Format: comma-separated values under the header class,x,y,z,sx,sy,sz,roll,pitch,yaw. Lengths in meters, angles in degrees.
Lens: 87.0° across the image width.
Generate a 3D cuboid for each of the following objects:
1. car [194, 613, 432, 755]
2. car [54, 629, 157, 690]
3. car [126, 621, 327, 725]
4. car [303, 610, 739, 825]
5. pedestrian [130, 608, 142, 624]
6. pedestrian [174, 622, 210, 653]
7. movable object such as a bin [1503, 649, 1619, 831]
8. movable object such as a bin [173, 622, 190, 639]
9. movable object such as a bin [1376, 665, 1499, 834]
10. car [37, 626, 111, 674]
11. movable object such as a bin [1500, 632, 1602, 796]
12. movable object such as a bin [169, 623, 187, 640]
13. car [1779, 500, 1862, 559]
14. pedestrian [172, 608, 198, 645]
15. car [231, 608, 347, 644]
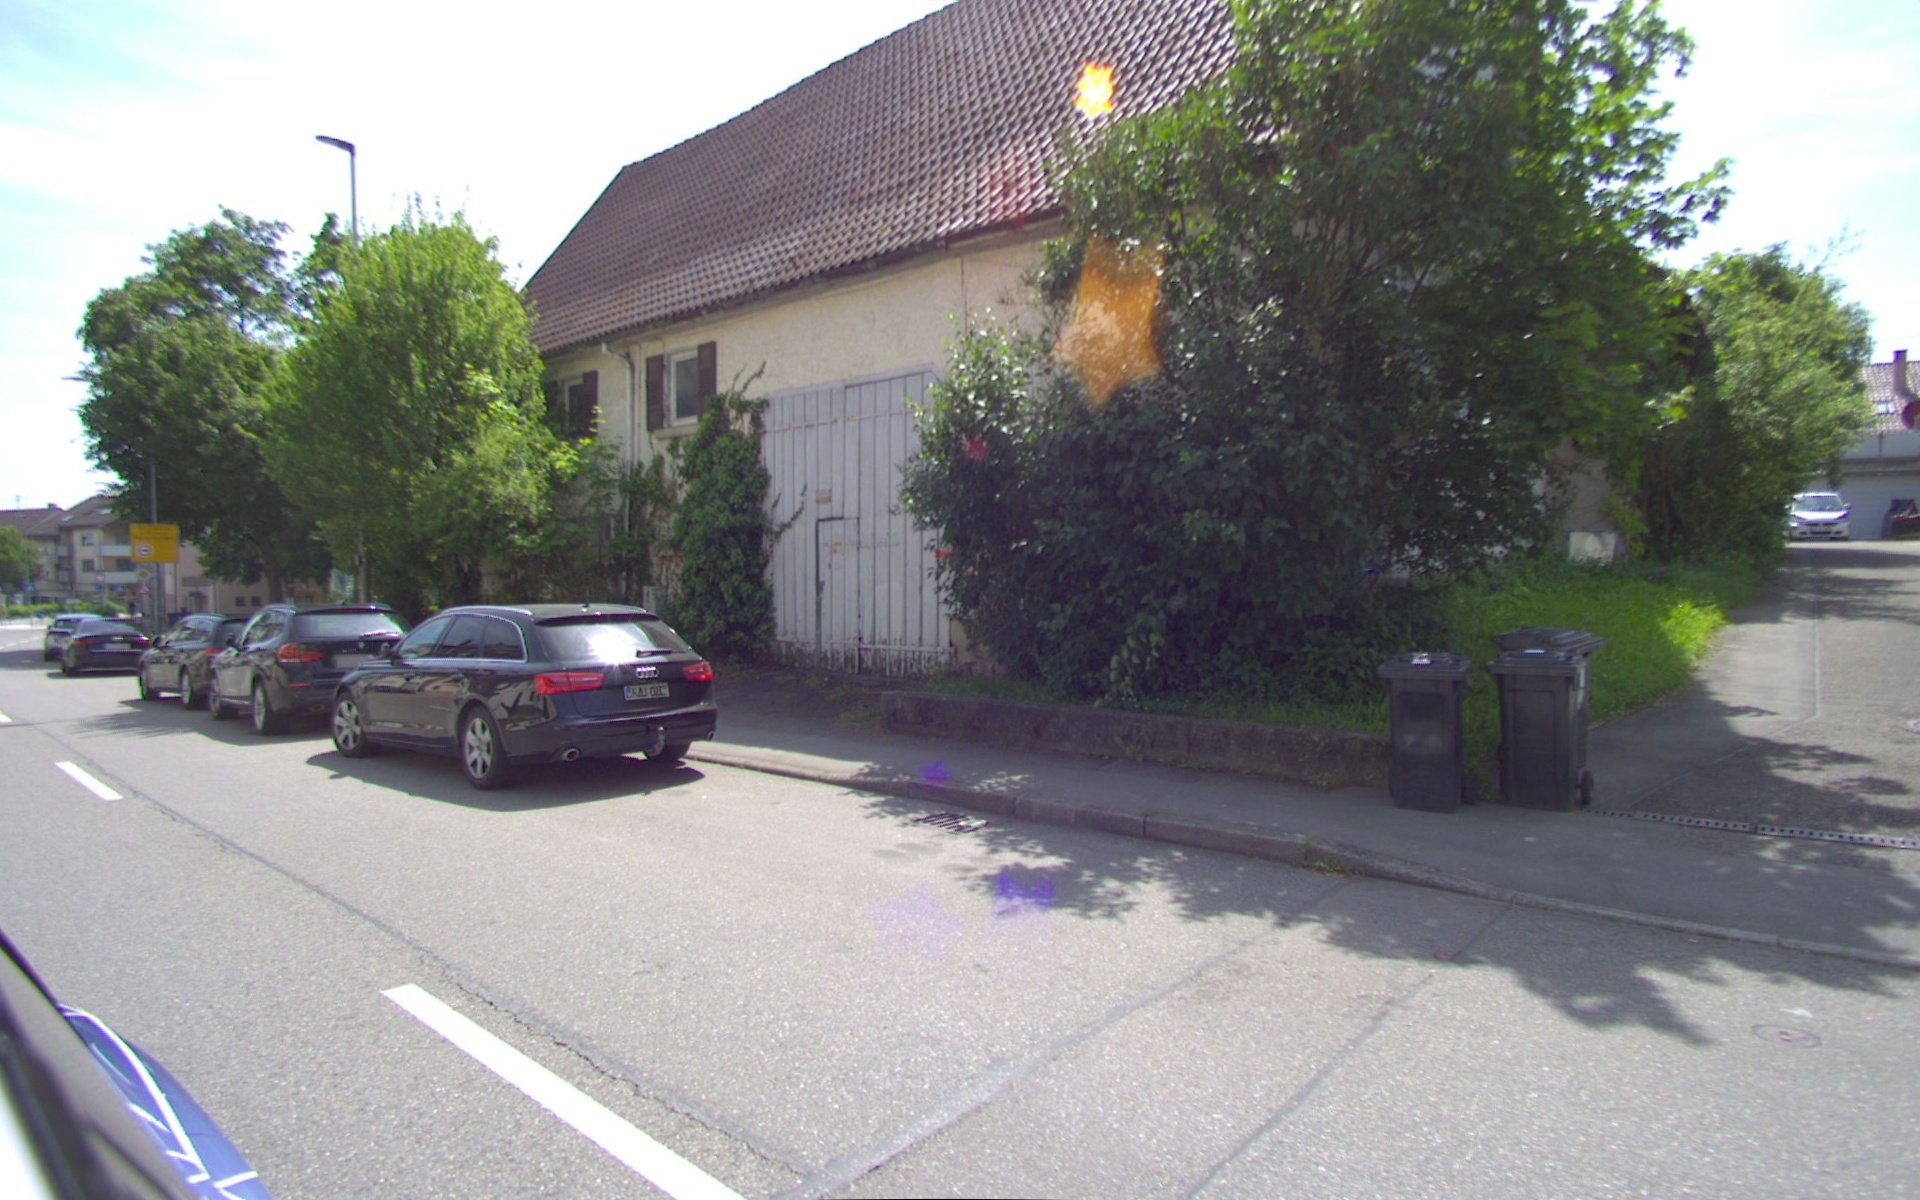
class,x,y,z,sx,sy,sz,roll,pitch,yaw
car,-8.577,0.985,13.243,4.302,1.532,1.735,-2,-1,45
car,-22.500,1.498,26.577,1.783,1.434,4.932,1,-2,-44
car,-12.300,1.108,16.847,4.711,1.474,1.769,-1,-1,42
car,-4.236,0.882,9.317,4.773,1.484,1.800,-2,-1,41
pedestrian,-75.974,1.485,93.282,0.790,1.489,0.958,-2,1,-44
pedestrian,-33.939,1.663,44.714,1.220,1.278,0.648,-3,1,-37
movable object such as a bin,3.565,0.801,5.999,0.527,0.945,0.469,-1,6,37
movable object such as a bin,-48.556,1.890,63.143,0.790,1.008,0.806,-3,2,-38
movable object such as a bin,2.890,0.872,6.122,0.584,0.909,0.496,-1,1,36
car,-30.433,1.662,34.846,1.750,1.539,4.229,2,-2,-40
movable object such as a bin,3.902,0.727,6.675,0.523,0.955,0.497,-1,7,36
movable object such as a bin,-48.286,1.964,62.491,0.840,1.008,0.695,-1,1,-38
car,27.244,-2.184,32.143,1.805,1.674,3.566,-1,1,37
pedestrian,-35.243,1.215,46.004,0.627,1.628,0.725,-1,1,30
car,-36.063,1.352,54.513,1.993,1.490,4.743,-1,3,31
